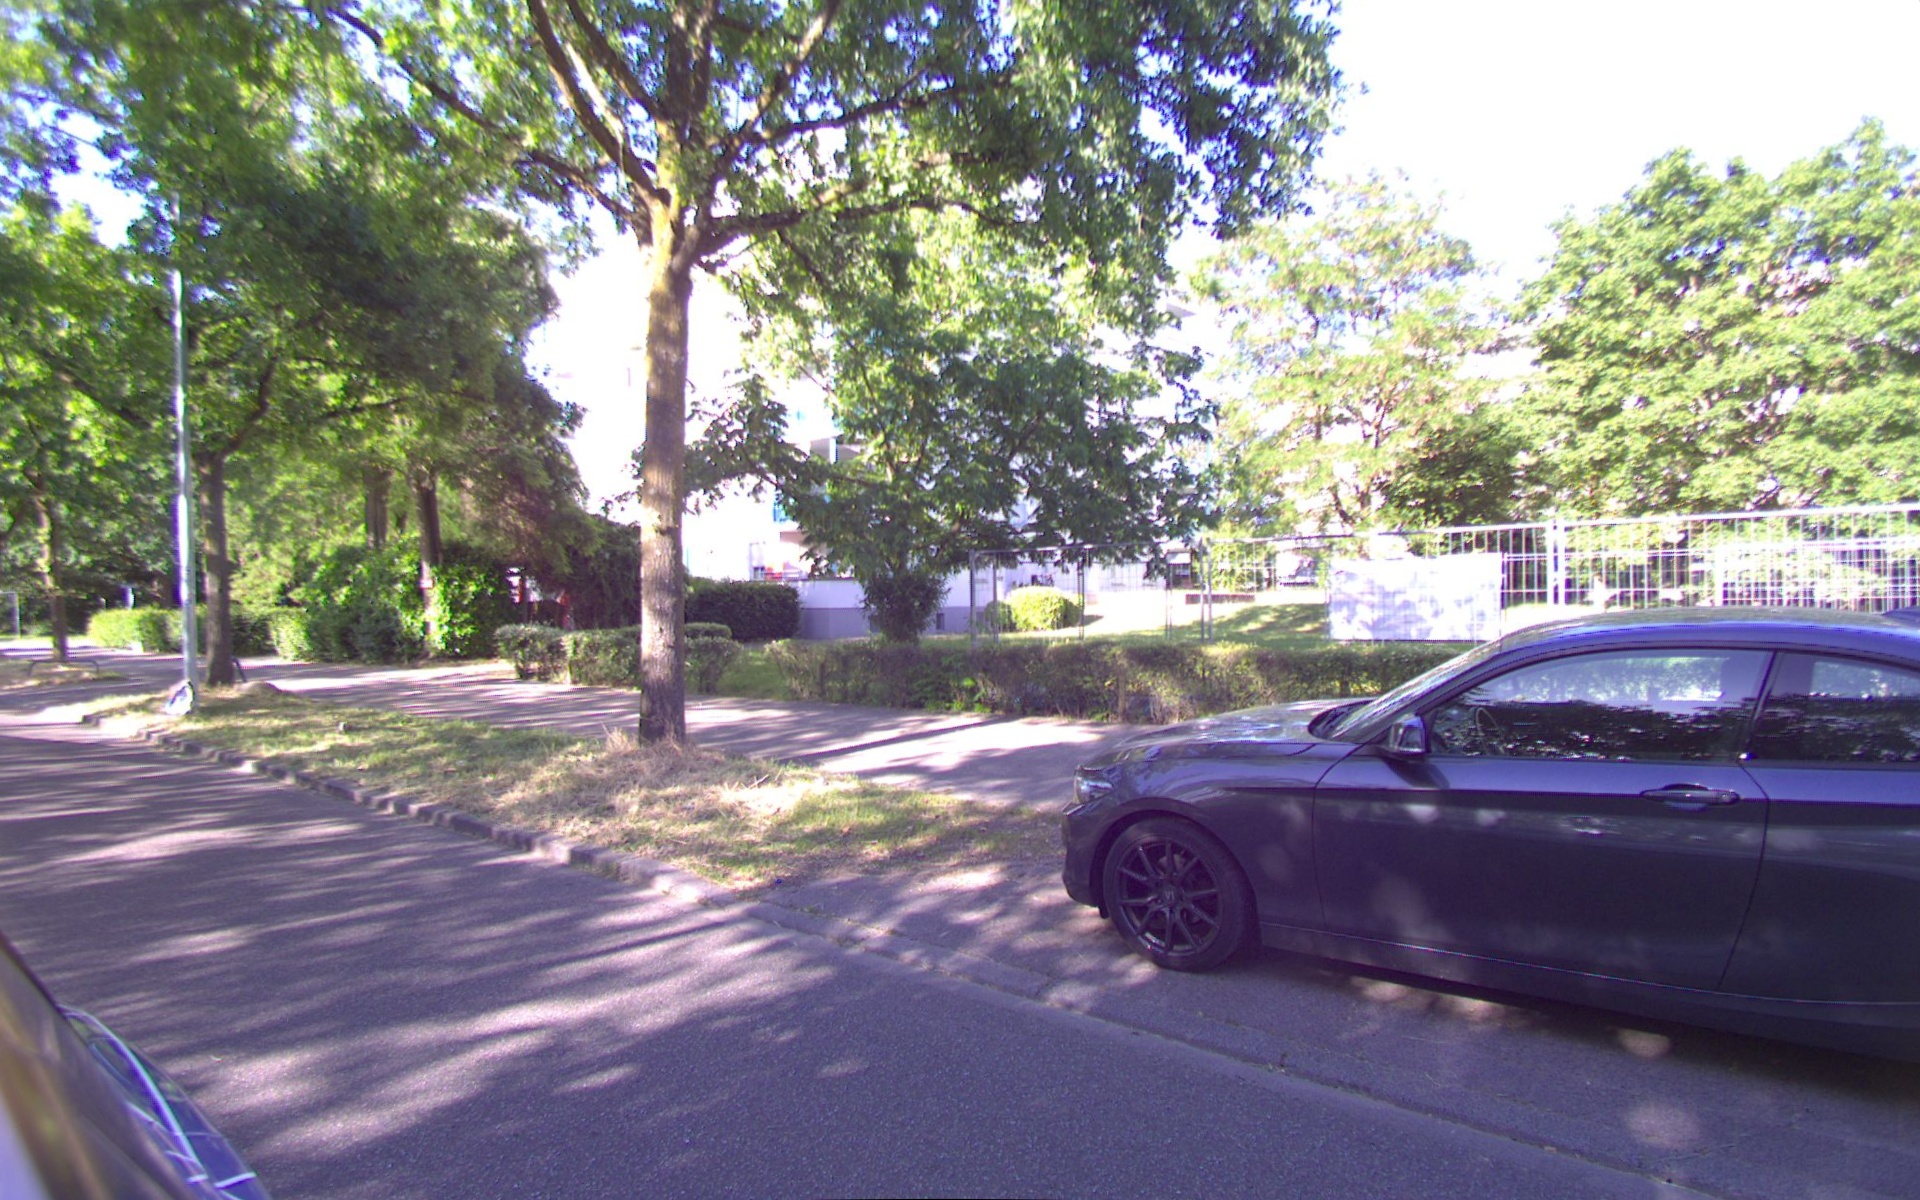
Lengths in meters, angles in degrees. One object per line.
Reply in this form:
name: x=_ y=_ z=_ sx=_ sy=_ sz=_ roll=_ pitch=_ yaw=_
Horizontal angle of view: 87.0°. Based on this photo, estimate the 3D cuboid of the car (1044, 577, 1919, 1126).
car: x=2.535 y=0.681 z=3.806 sx=4.130 sy=1.443 sz=1.700 roll=-2 pitch=1 yaw=37
